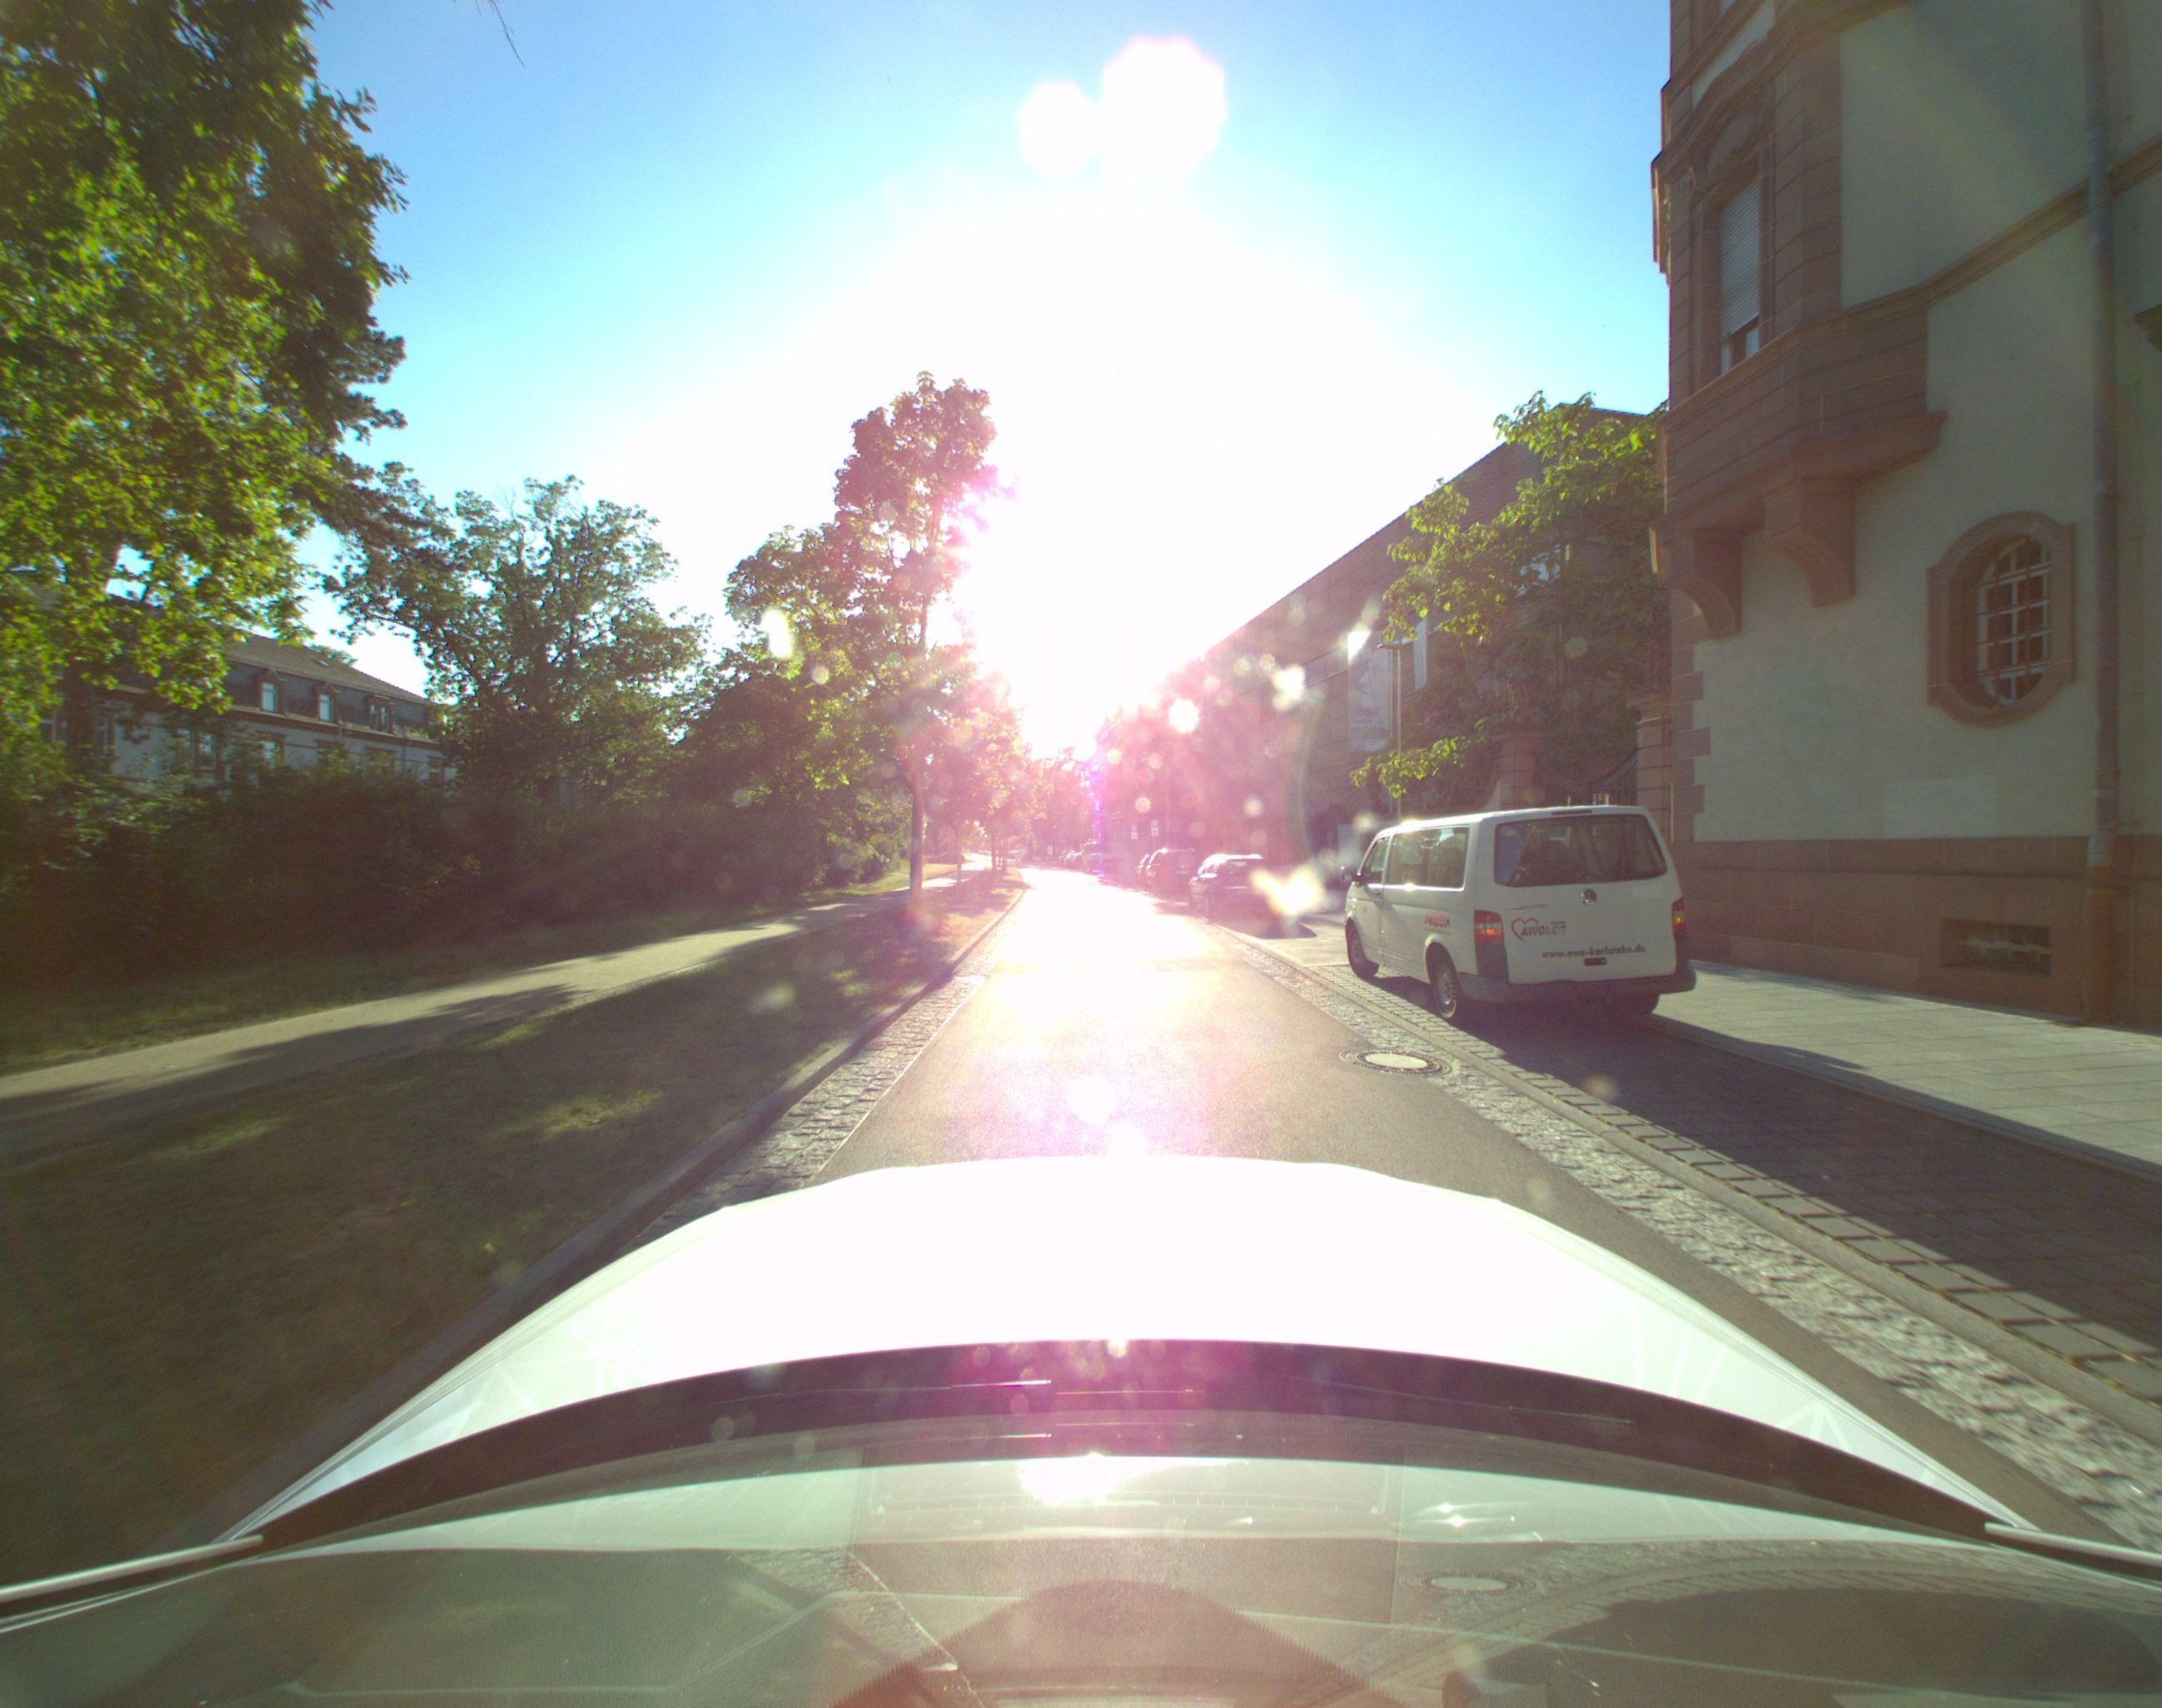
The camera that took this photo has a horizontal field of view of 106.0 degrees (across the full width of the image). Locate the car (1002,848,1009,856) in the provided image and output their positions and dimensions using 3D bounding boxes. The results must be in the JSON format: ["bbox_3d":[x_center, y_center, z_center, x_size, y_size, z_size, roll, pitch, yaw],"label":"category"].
[{"bbox_3d":[-18.607,-0.409,200.546,1.791,1.999,3.992,0,0,-6],"label":"car"}]

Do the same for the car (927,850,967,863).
[{"bbox_3d":[-14.918,0.240,90.509,4.015,1.420,1.753,0,0,-34],"label":"car"}]

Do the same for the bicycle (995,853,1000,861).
[{"bbox_3d":[-14.321,0.521,139.740,0.687,1.202,2.341,0,1,-3],"label":"bicycle"}]

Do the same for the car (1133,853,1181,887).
[{"bbox_3d":[3.439,0.679,37.553,1.720,1.421,3.903,-1,1,-2],"label":"car"}]

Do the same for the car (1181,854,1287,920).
[{"bbox_3d":[3.841,0.760,21.196,1.743,1.466,4.474,-2,0,-2],"label":"car"}]

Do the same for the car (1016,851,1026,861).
[{"bbox_3d":[-10.943,0.392,148.658,1.791,1.724,3.992,0,0,-6],"label":"car"}]

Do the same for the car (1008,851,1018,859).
[{"bbox_3d":[-13.691,0.242,164.089,1.791,1.510,3.992,0,0,-6],"label":"car"}]

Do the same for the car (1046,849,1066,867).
[{"bbox_3d":[-2.805,0.432,89.716,1.821,2.013,3.594,0,0,-8],"label":"car"}]

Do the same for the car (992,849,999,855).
[{"bbox_3d":[-25.517,-0.574,241.616,1.991,1.969,3.991,1,0,-7],"label":"car"}]

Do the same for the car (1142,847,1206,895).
[{"bbox_3d":[3.537,0.596,31.525,1.721,1.669,4.108,-2,1,-4],"label":"car"}]

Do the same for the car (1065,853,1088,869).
[{"bbox_3d":[-0.424,0.606,77.090,1.689,1.440,4.093,-1,0,-8],"label":"car"}]

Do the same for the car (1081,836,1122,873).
[{"bbox_3d":[1.482,0.039,60.534,2.208,2.530,6.135,-2,1,-6],"label":"car"}]

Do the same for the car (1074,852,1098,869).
[{"bbox_3d":[0.423,0.531,71.547,1.689,1.440,3.541,-1,0,-8],"label":"car"}]

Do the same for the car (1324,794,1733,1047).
[{"bbox_3d":[4.392,0.530,9.105,1.986,1.966,4.852,-3,0,2],"label":"car"}]

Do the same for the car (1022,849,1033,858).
[{"bbox_3d":[-8.801,-0.096,135.044,1.790,1.510,3.995,0,0,-3],"label":"car"}]
